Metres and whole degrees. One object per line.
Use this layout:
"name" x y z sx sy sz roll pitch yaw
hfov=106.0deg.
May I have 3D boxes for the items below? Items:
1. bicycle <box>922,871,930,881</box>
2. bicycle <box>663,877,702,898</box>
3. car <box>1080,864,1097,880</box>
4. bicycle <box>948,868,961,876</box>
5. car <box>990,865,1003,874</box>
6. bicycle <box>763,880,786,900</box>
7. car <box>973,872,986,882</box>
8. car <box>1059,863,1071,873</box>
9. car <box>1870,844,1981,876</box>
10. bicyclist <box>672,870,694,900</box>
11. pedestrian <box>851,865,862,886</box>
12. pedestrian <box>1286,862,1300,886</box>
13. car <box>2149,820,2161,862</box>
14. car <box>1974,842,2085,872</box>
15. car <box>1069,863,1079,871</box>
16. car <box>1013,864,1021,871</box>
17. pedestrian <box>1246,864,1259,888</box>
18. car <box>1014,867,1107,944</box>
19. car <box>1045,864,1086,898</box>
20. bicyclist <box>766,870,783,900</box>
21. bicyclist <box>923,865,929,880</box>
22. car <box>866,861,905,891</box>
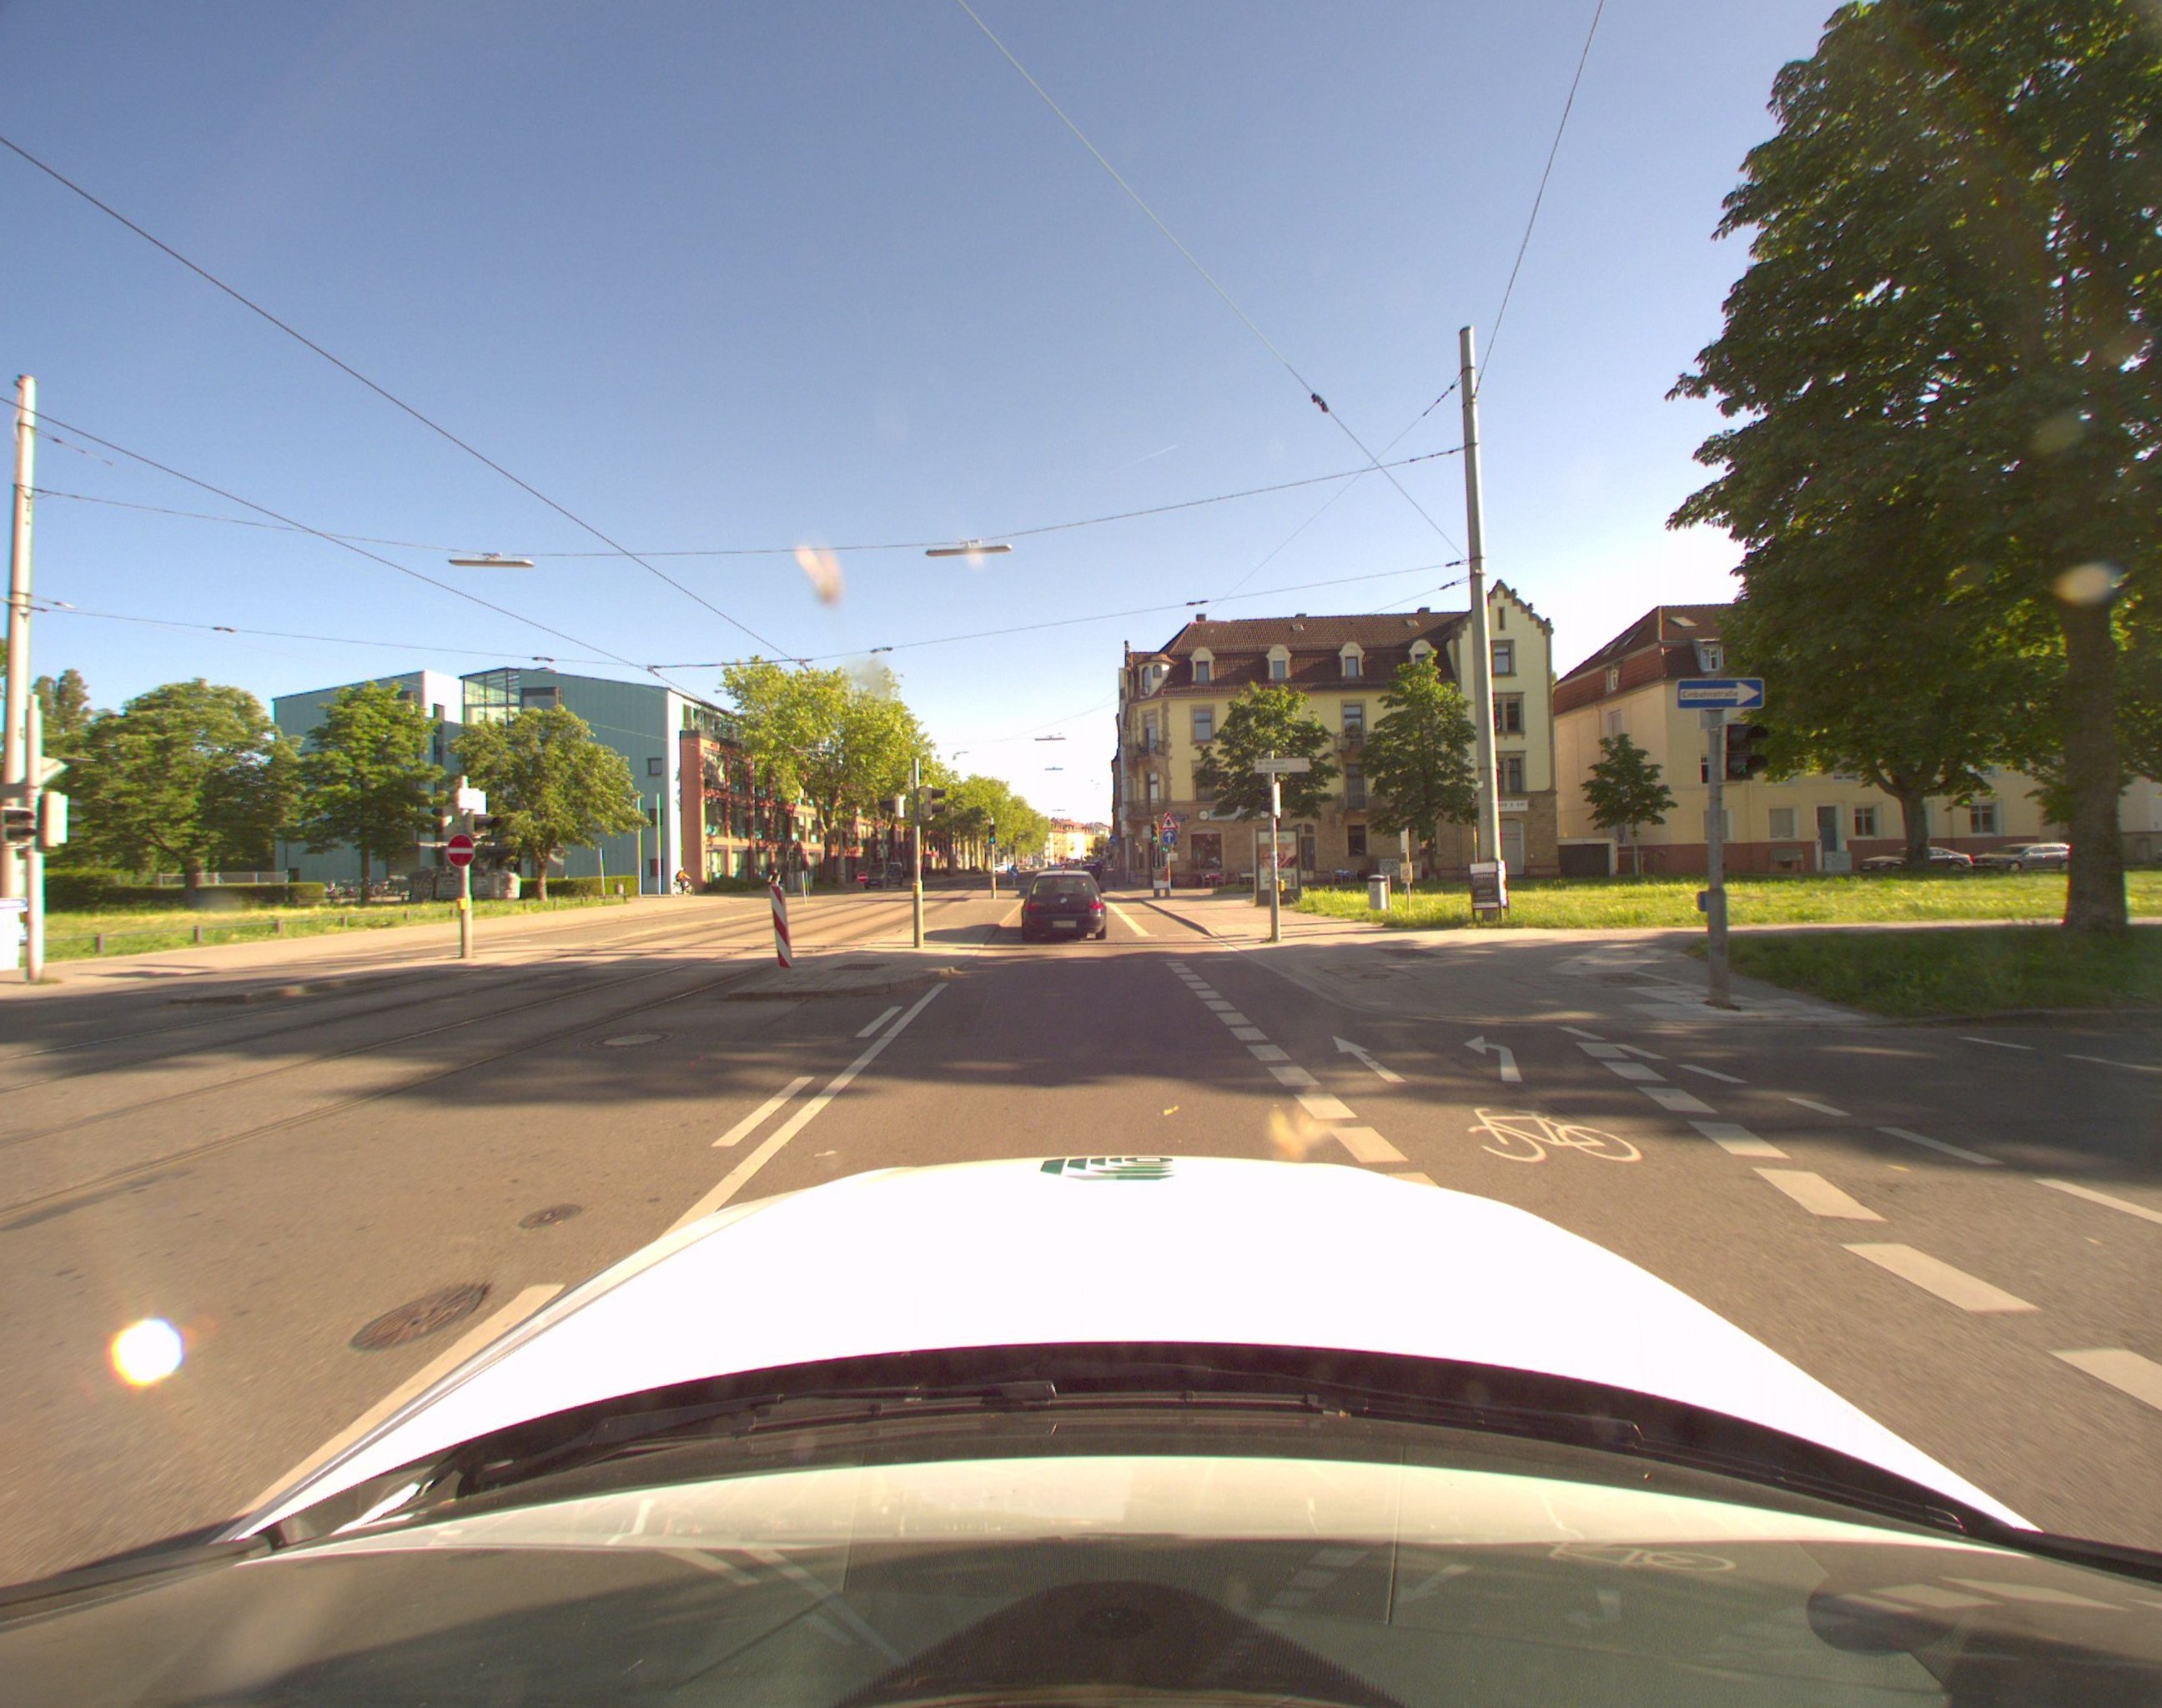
"bicycle" -16.781 2.341 88.212 0.644 1.042 1.921 0 0 -7
"bicycle" -23.066 1.934 47.181 0.626 1.129 2.047 0 0 27
"car" 0.754 1.773 80.131 1.649 1.482 4.001 -1 -1 1
"bicycle" -21.852 3.112 140.832 2.001 1.278 0.664 0 -1 1
"car" -16.358 3.023 158.596 2.005 1.572 4.693 0 0 0
"bicycle" -17.979 2.111 47.804 0.585 1.113 1.826 -3 0 -1
"car" -16.722 3.831 134.409 1.501 1.454 3.464 -3 -3 2
"car" -2.507 2.183 128.667 1.630 1.472 3.730 -1 -1 2
"car" 44.462 0.309 42.935 3.822 1.605 1.831 0 1 5
"bicyclist" -23.064 1.781 47.186 0.599 1.692 0.938 0 -1 26
"pedestrian" -21.975 2.128 79.891 0.909 2.014 0.779 0 -1 -7
"pedestrian" 12.286 1.135 47.279 0.636 1.360 0.702 0 -1 2
"car" 50.926 -0.580 36.375 3.673 1.882 1.932 0 0 7
"car" 49.378 0.167 42.443 3.677 1.513 1.736 0 0 3
"car" -1.239 2.444 152.276 1.630 1.472 3.730 -1 -1 2
"car" -15.153 3.295 193.080 1.564 1.533 3.573 -1 -2 2
"pedestrian" 10.151 1.299 48.215 0.636 1.360 0.702 0 -1 2
"car" -0.376 1.007 17.497 1.743 1.375 4.000 -2 0 0
"car" -0.696 1.279 40.023 1.742 1.538 3.893 -2 0 2
"bicyclist" -18.003 1.807 47.783 0.585 1.711 0.901 -3 0 -1
"bicyclist" -16.775 2.029 88.209 0.644 1.611 0.779 0 -1 -7
"car" -15.184 1.680 63.439 2.016 2.013 5.243 -3 1 -4
